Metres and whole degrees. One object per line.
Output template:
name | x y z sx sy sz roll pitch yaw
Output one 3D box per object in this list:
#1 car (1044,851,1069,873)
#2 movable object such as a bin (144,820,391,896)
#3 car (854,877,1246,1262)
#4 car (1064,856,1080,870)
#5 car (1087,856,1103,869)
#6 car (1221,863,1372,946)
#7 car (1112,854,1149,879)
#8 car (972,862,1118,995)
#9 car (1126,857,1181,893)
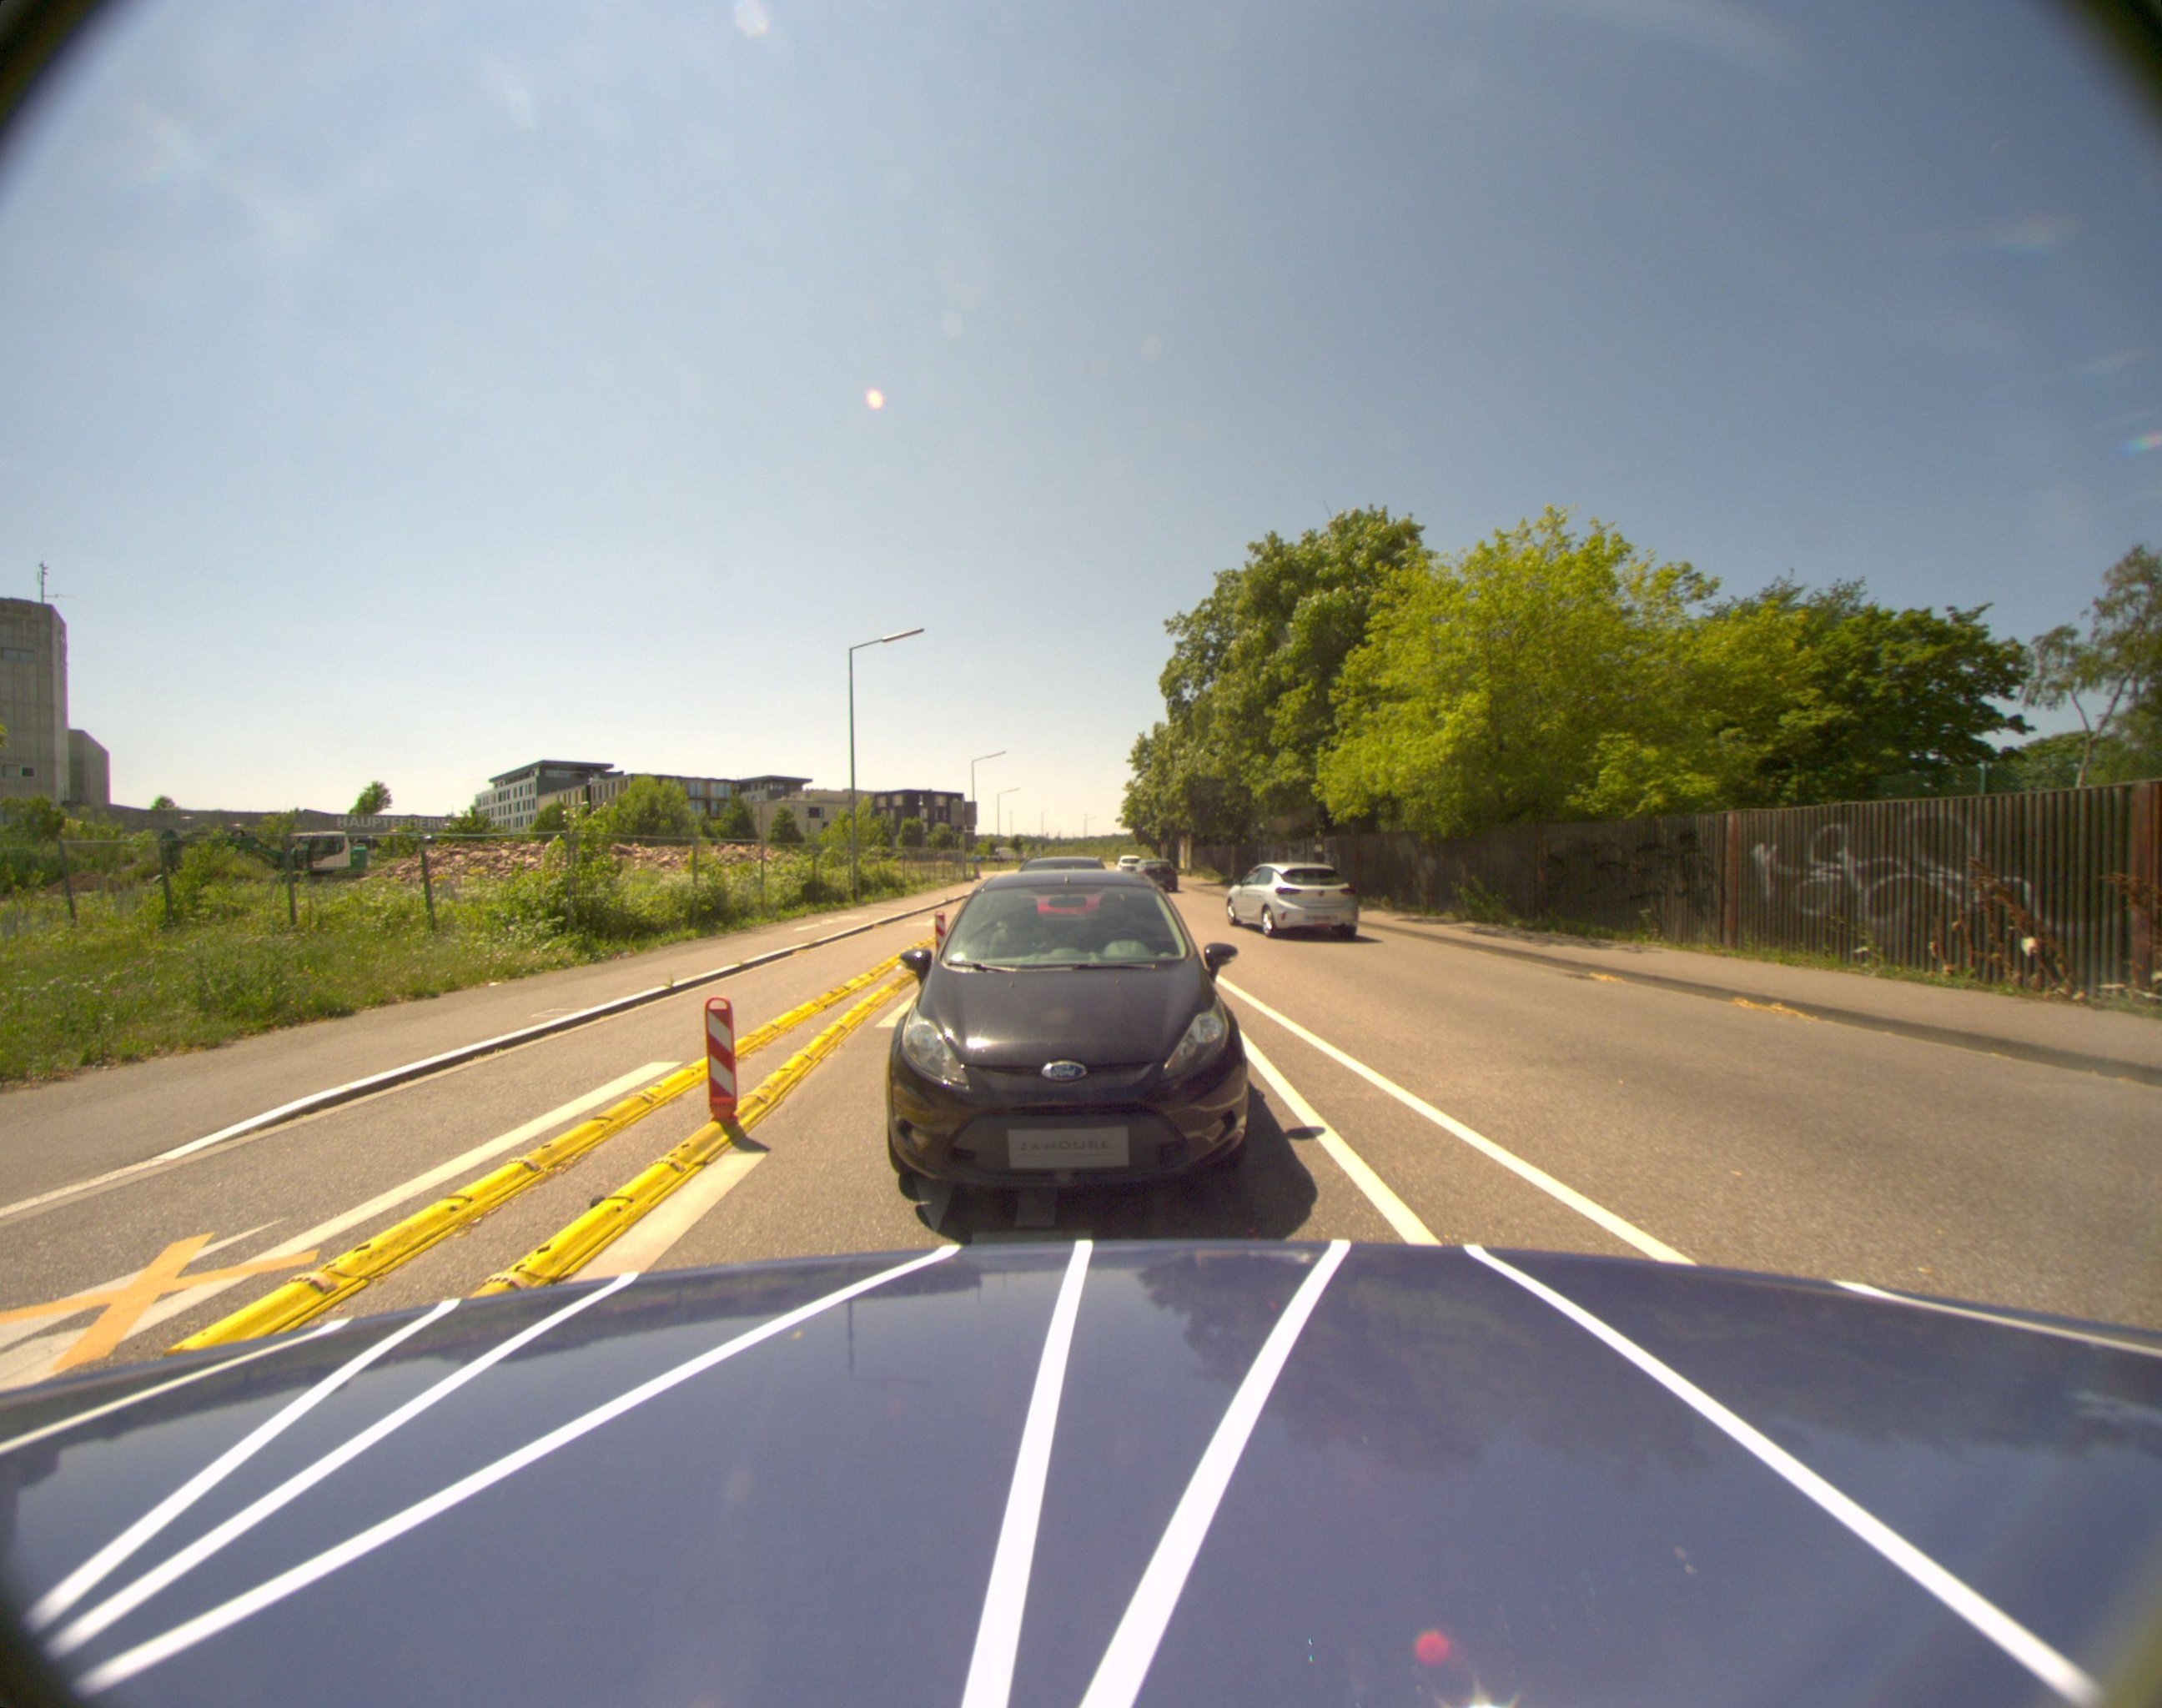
car | -1.834 0.585 55.962 1.759 1.536 3.693 -1 0 -2
movable object such as a bin | -38.001 0.118 36.042 2.810 3.131 7.608 -2 1 8
car | -0.105 0.968 5.103 1.632 1.499 3.819 -1 0 1
car | -1.040 0.994 85.854 1.759 1.536 3.693 -1 0 -2
car | 1.684 1.010 91.006 1.759 1.536 3.693 -1 0 -2
car | 4.249 0.938 15.645 1.719 1.455 3.841 1 0 -5
car | 3.103 0.768 48.145 1.759 1.477 3.692 -1 0 -5
car | -0.398 0.907 11.105 1.720 1.518 4.212 -1 0 1
car | 3.188 0.894 33.976 1.759 1.477 3.692 -1 0 -5
